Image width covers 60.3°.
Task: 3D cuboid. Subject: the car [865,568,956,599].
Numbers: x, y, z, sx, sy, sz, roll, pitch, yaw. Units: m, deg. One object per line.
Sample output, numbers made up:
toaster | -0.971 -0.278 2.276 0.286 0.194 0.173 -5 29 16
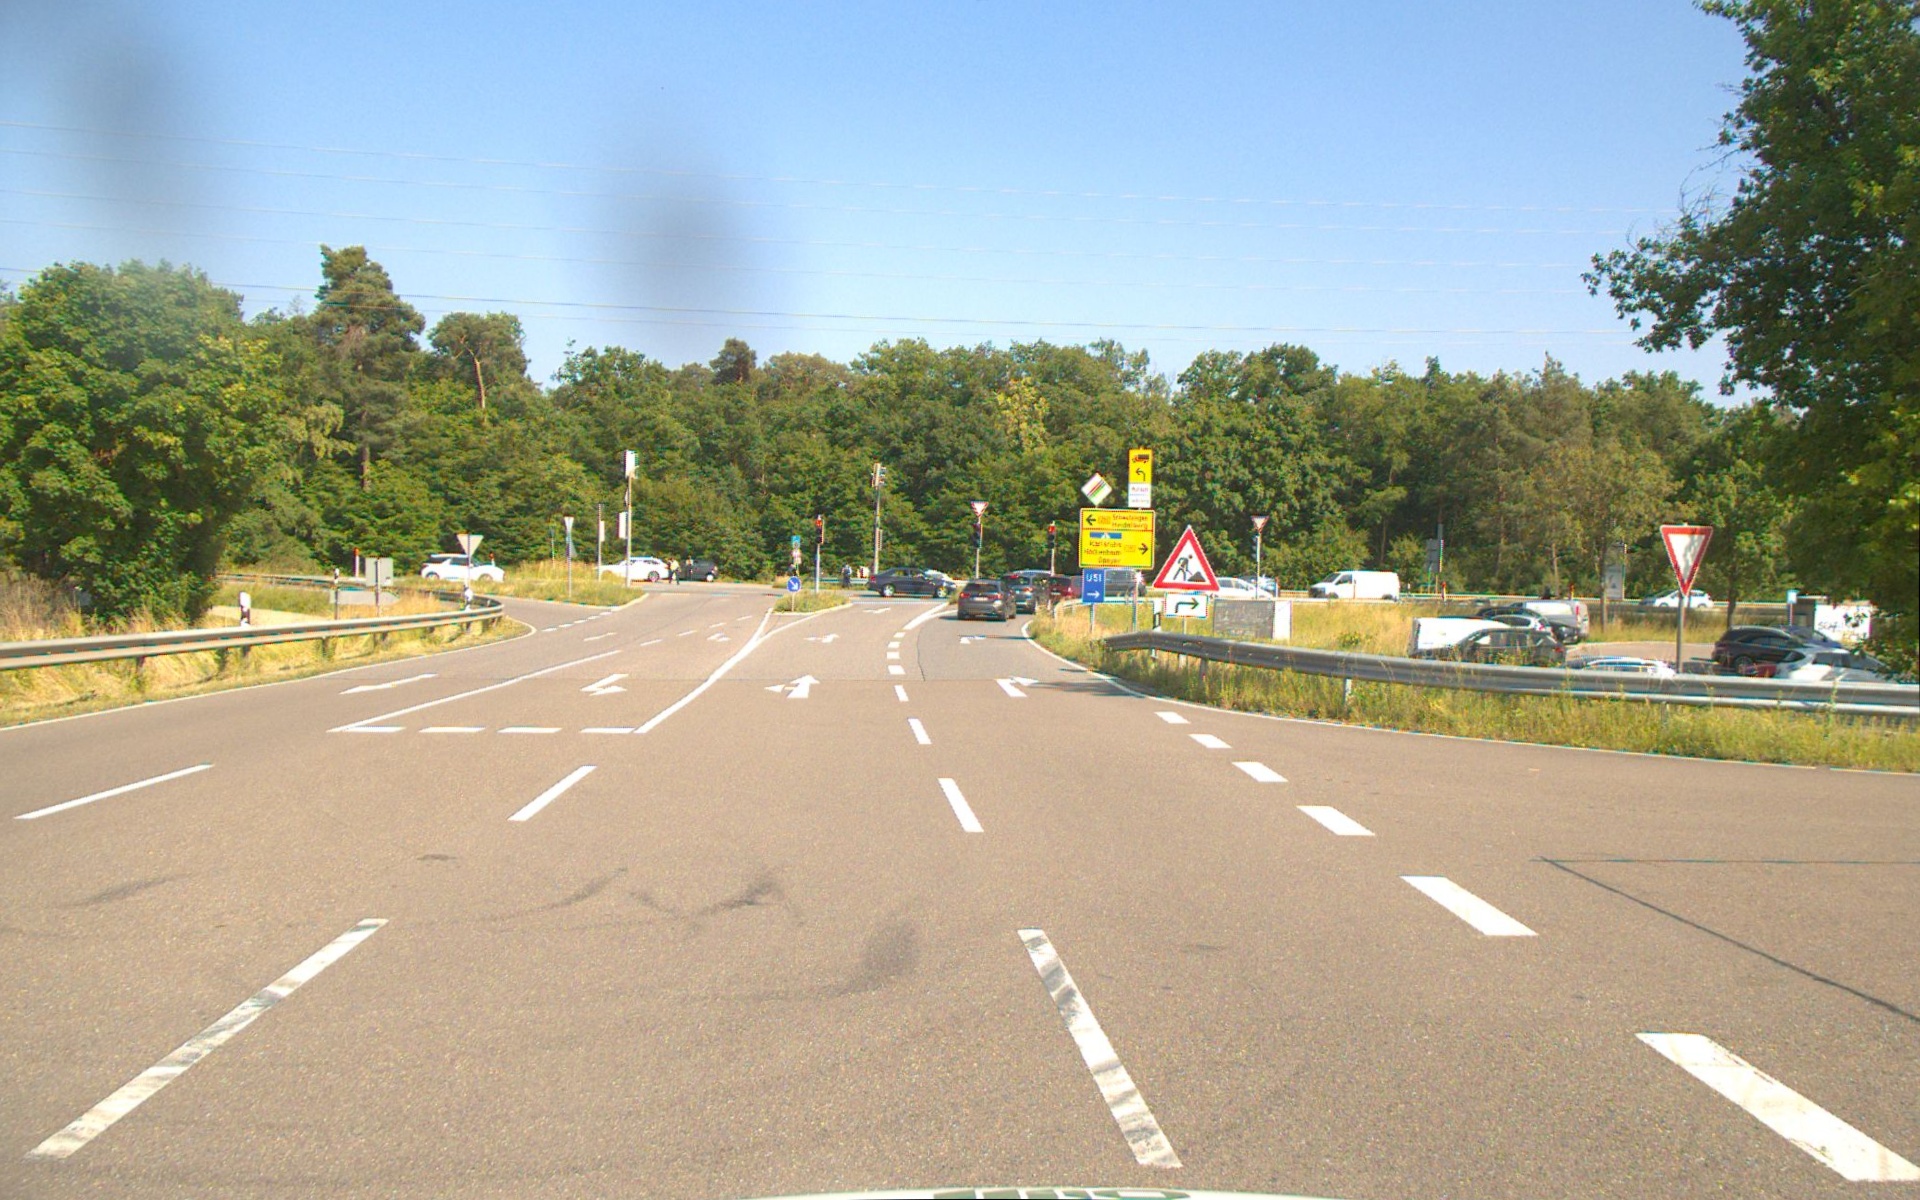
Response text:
car | -2.486 -0.826 82.274 4.285 1.485 1.995 -1 1 -10

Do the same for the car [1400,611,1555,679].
car | 15.929 1.370 51.091 4.262 1.814 1.903 2 1 9

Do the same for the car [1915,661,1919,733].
car | 23.537 2.309 36.365 3.903 1.608 1.893 3 1 5

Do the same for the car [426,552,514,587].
car | -23.182 -1.439 78.364 3.763 1.512 1.886 1 0 -10

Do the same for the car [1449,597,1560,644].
car | 22.251 0.838 67.579 3.915 1.647 1.887 4 1 31

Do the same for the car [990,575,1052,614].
car | 2.515 -0.235 67.702 1.761 1.527 4.003 1 1 13

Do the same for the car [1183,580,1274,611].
car | 13.678 -0.230 84.336 4.152 1.485 1.995 -1 1 -10

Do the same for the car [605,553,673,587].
car | -20.339 -1.906 104.810 3.936 2.049 1.782 -1 1 -25

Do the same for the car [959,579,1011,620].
car | 0.954 -0.048 60.379 1.762 1.422 4.002 0 1 3

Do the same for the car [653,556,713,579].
car | -18.674 -2.178 111.634 3.914 1.447 1.792 -1 1 -10

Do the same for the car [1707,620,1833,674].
car | 28.952 1.654 59.269 3.908 1.608 1.890 4 1 24

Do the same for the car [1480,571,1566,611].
car | 29.910 -0.489 87.932 3.913 2.048 1.797 0 2 -9

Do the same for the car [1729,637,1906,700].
car | 25.244 1.999 48.862 4.263 1.472 2.001 3 1 17

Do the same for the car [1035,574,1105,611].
car | 4.909 -0.345 73.183 1.764 1.527 3.997 2 1 25

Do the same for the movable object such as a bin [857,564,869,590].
movable object such as a bin | -5.764 -1.373 98.538 0.589 1.514 0.732 -1 0 4

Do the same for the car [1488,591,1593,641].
car | 25.561 0.693 72.847 3.922 1.909 1.884 4 1 36

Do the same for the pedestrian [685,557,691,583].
pedestrian | -18.228 -2.011 110.818 0.400 1.744 0.452 -1 0 -7

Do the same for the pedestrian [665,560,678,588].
pedestrian | -17.936 -1.626 102.706 0.744 1.751 0.676 0 1 -16

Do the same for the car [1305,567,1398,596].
car | 22.210 -1.044 93.896 4.792 1.579 1.995 -1 1 -10

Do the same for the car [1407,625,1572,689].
car | 15.345 1.635 48.134 4.319 1.696 1.903 0 1 9

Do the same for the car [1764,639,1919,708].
car | 25.158 2.056 46.452 4.263 1.617 2.001 3 1 17

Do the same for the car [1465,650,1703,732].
car | 13.862 2.017 36.947 4.557 1.655 2.000 1 1 -1

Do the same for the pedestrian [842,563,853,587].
pedestrian | -6.681 -1.495 98.025 0.512 1.415 0.514 -1 0 7
